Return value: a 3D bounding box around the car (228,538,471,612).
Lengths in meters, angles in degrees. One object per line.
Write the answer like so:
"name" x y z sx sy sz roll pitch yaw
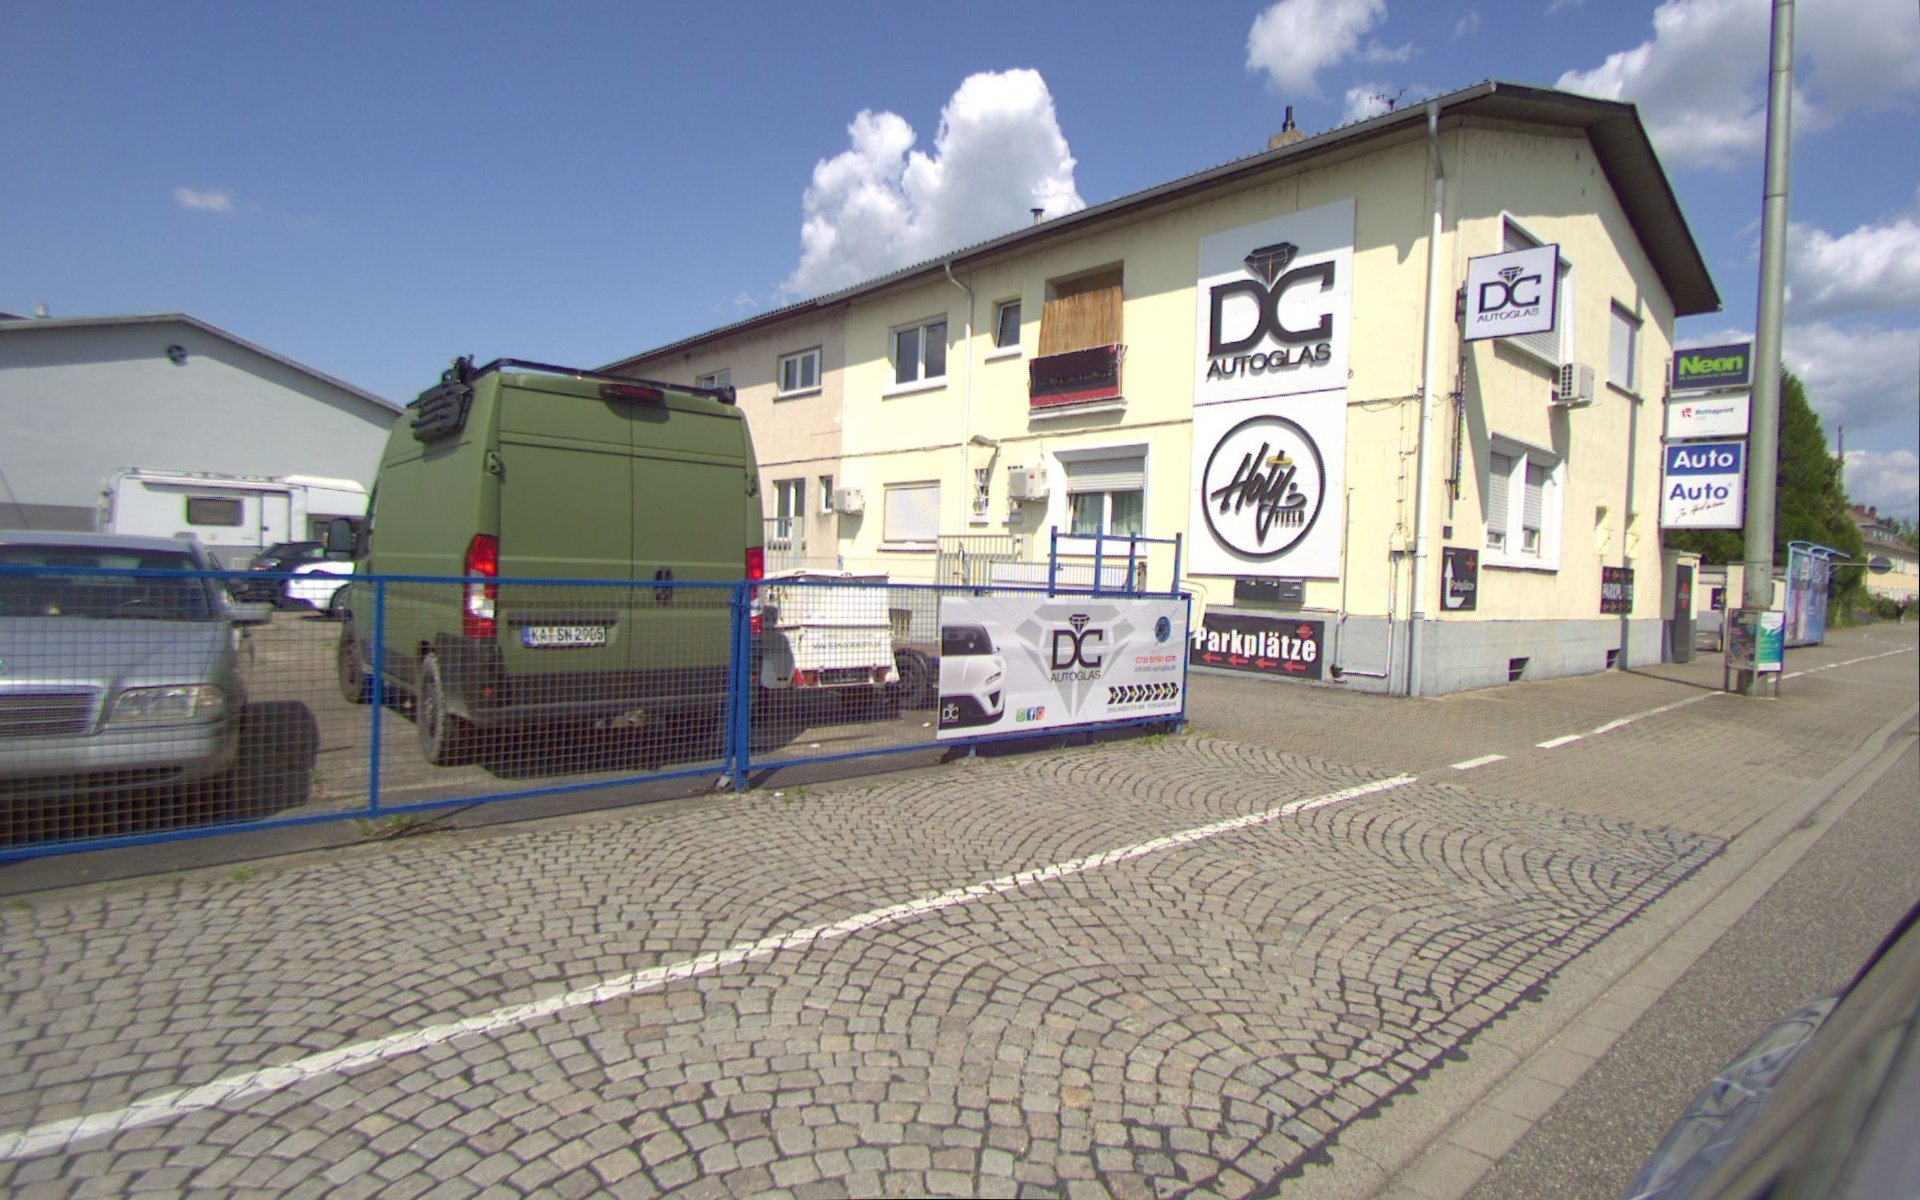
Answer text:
"car" -12.879 -0.537 21.497 4.111 1.405 1.924 -1 3 -44

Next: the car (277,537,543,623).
"car" -10.275 -0.386 19.102 4.111 1.433 1.755 -1 3 -44

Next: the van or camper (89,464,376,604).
"van or camper" -16.333 -1.412 22.898 2.310 2.807 4.980 4 3 45

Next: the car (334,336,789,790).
"car" -3.489 -0.315 8.240 2.113 2.605 4.548 0 2 -40

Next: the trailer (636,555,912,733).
"trailer" -1.849 0.323 9.595 1.280 1.349 2.788 2 2 -41

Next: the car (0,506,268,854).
"car" -5.158 0.238 5.949 1.785 1.449 4.199 0 2 -34
